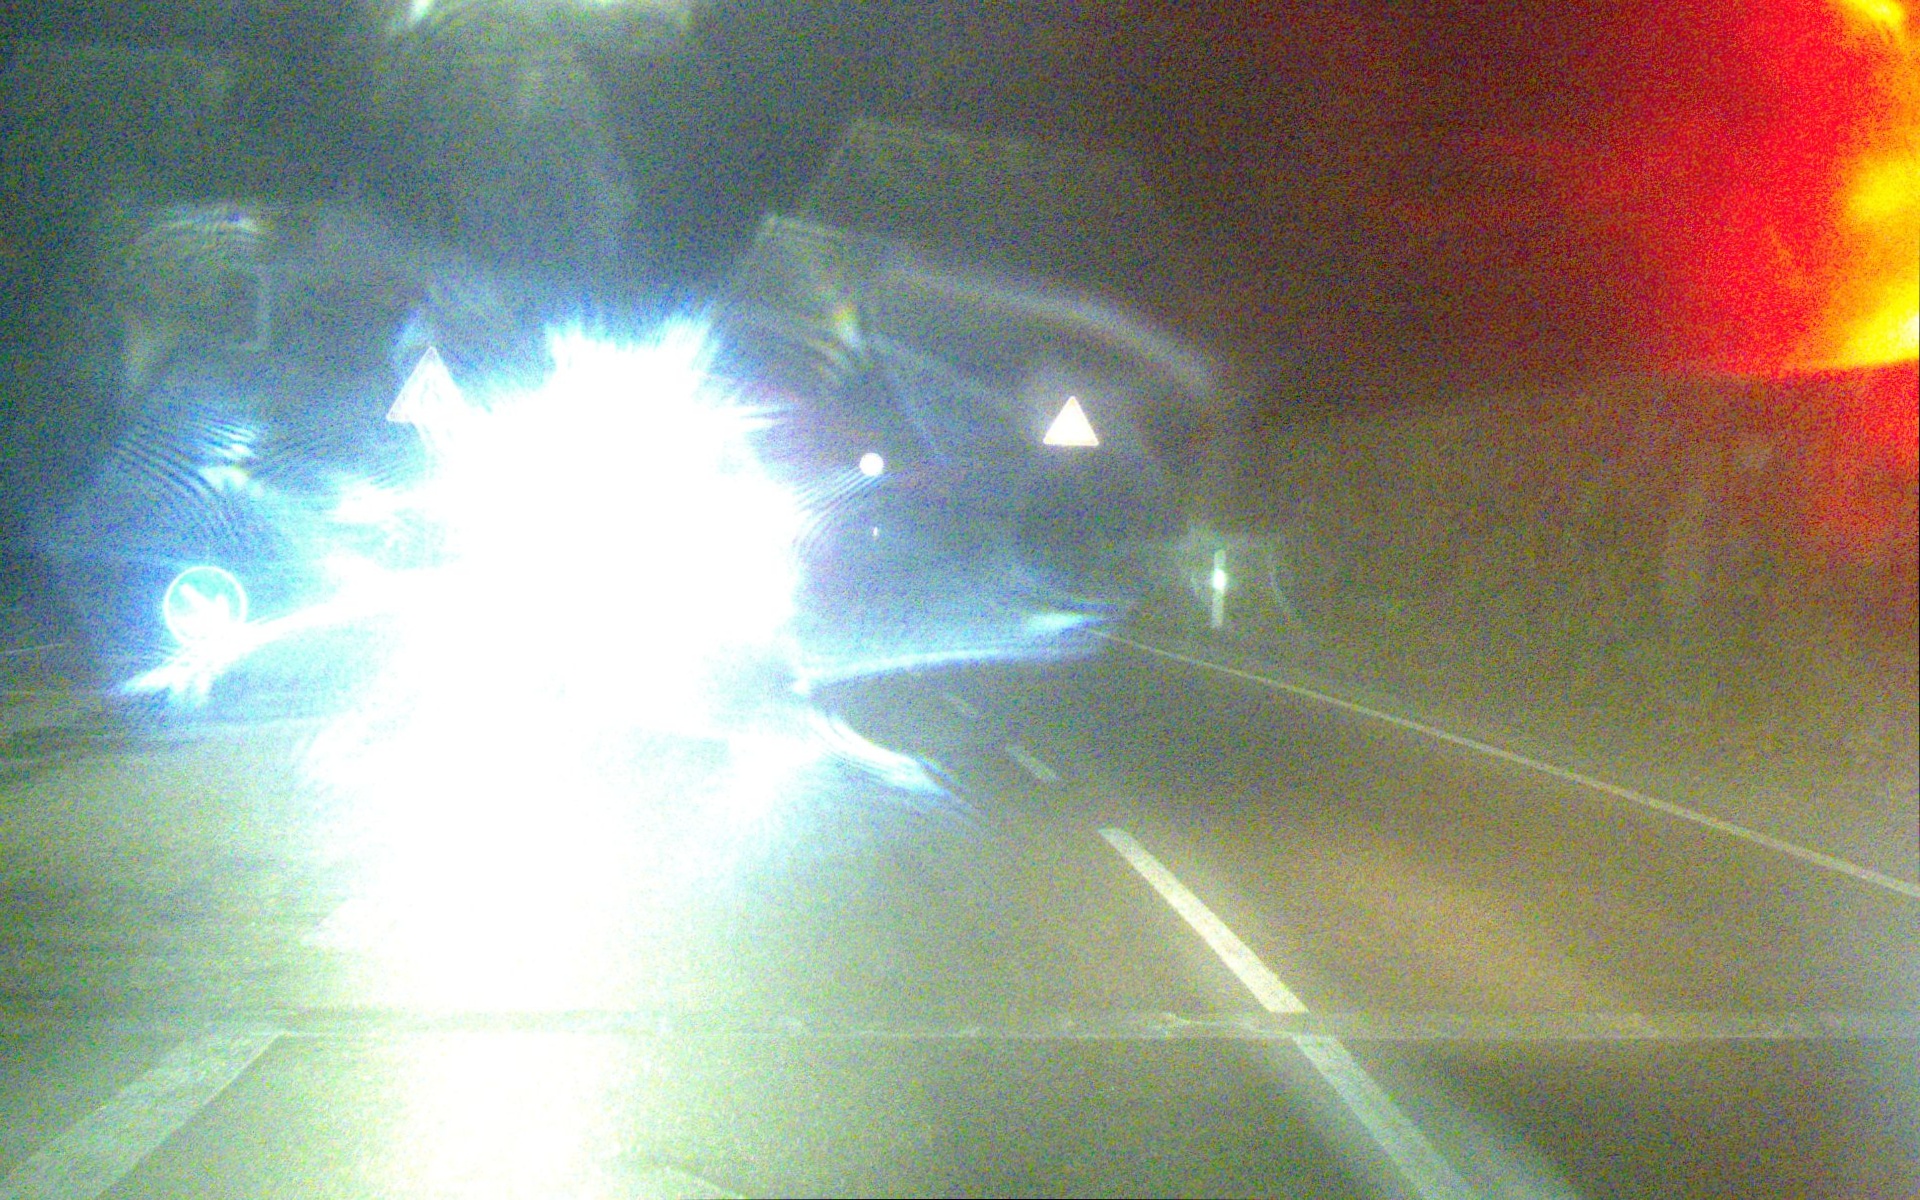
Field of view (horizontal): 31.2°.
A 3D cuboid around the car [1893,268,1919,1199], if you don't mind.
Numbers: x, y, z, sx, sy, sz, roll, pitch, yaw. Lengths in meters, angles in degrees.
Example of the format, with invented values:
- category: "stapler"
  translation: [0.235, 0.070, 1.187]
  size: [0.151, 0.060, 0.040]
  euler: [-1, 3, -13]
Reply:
- category: "car"
  translation: [2.595, 0.493, 3.690]
  size: [1.791, 2.015, 4.580]
  euler: [1, 1, -2]

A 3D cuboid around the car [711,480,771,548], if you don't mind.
- category: "car"
  translation: [-6.676, -2.614, 105.089]
  size: [1.791, 2.015, 4.580]
  euler: [1, 1, -3]

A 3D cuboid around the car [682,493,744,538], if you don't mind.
- category: "car"
  translation: [-10.707, -3.663, 149.170]
  size: [1.994, 1.711, 3.999]
  euler: [5, 0, 4]
